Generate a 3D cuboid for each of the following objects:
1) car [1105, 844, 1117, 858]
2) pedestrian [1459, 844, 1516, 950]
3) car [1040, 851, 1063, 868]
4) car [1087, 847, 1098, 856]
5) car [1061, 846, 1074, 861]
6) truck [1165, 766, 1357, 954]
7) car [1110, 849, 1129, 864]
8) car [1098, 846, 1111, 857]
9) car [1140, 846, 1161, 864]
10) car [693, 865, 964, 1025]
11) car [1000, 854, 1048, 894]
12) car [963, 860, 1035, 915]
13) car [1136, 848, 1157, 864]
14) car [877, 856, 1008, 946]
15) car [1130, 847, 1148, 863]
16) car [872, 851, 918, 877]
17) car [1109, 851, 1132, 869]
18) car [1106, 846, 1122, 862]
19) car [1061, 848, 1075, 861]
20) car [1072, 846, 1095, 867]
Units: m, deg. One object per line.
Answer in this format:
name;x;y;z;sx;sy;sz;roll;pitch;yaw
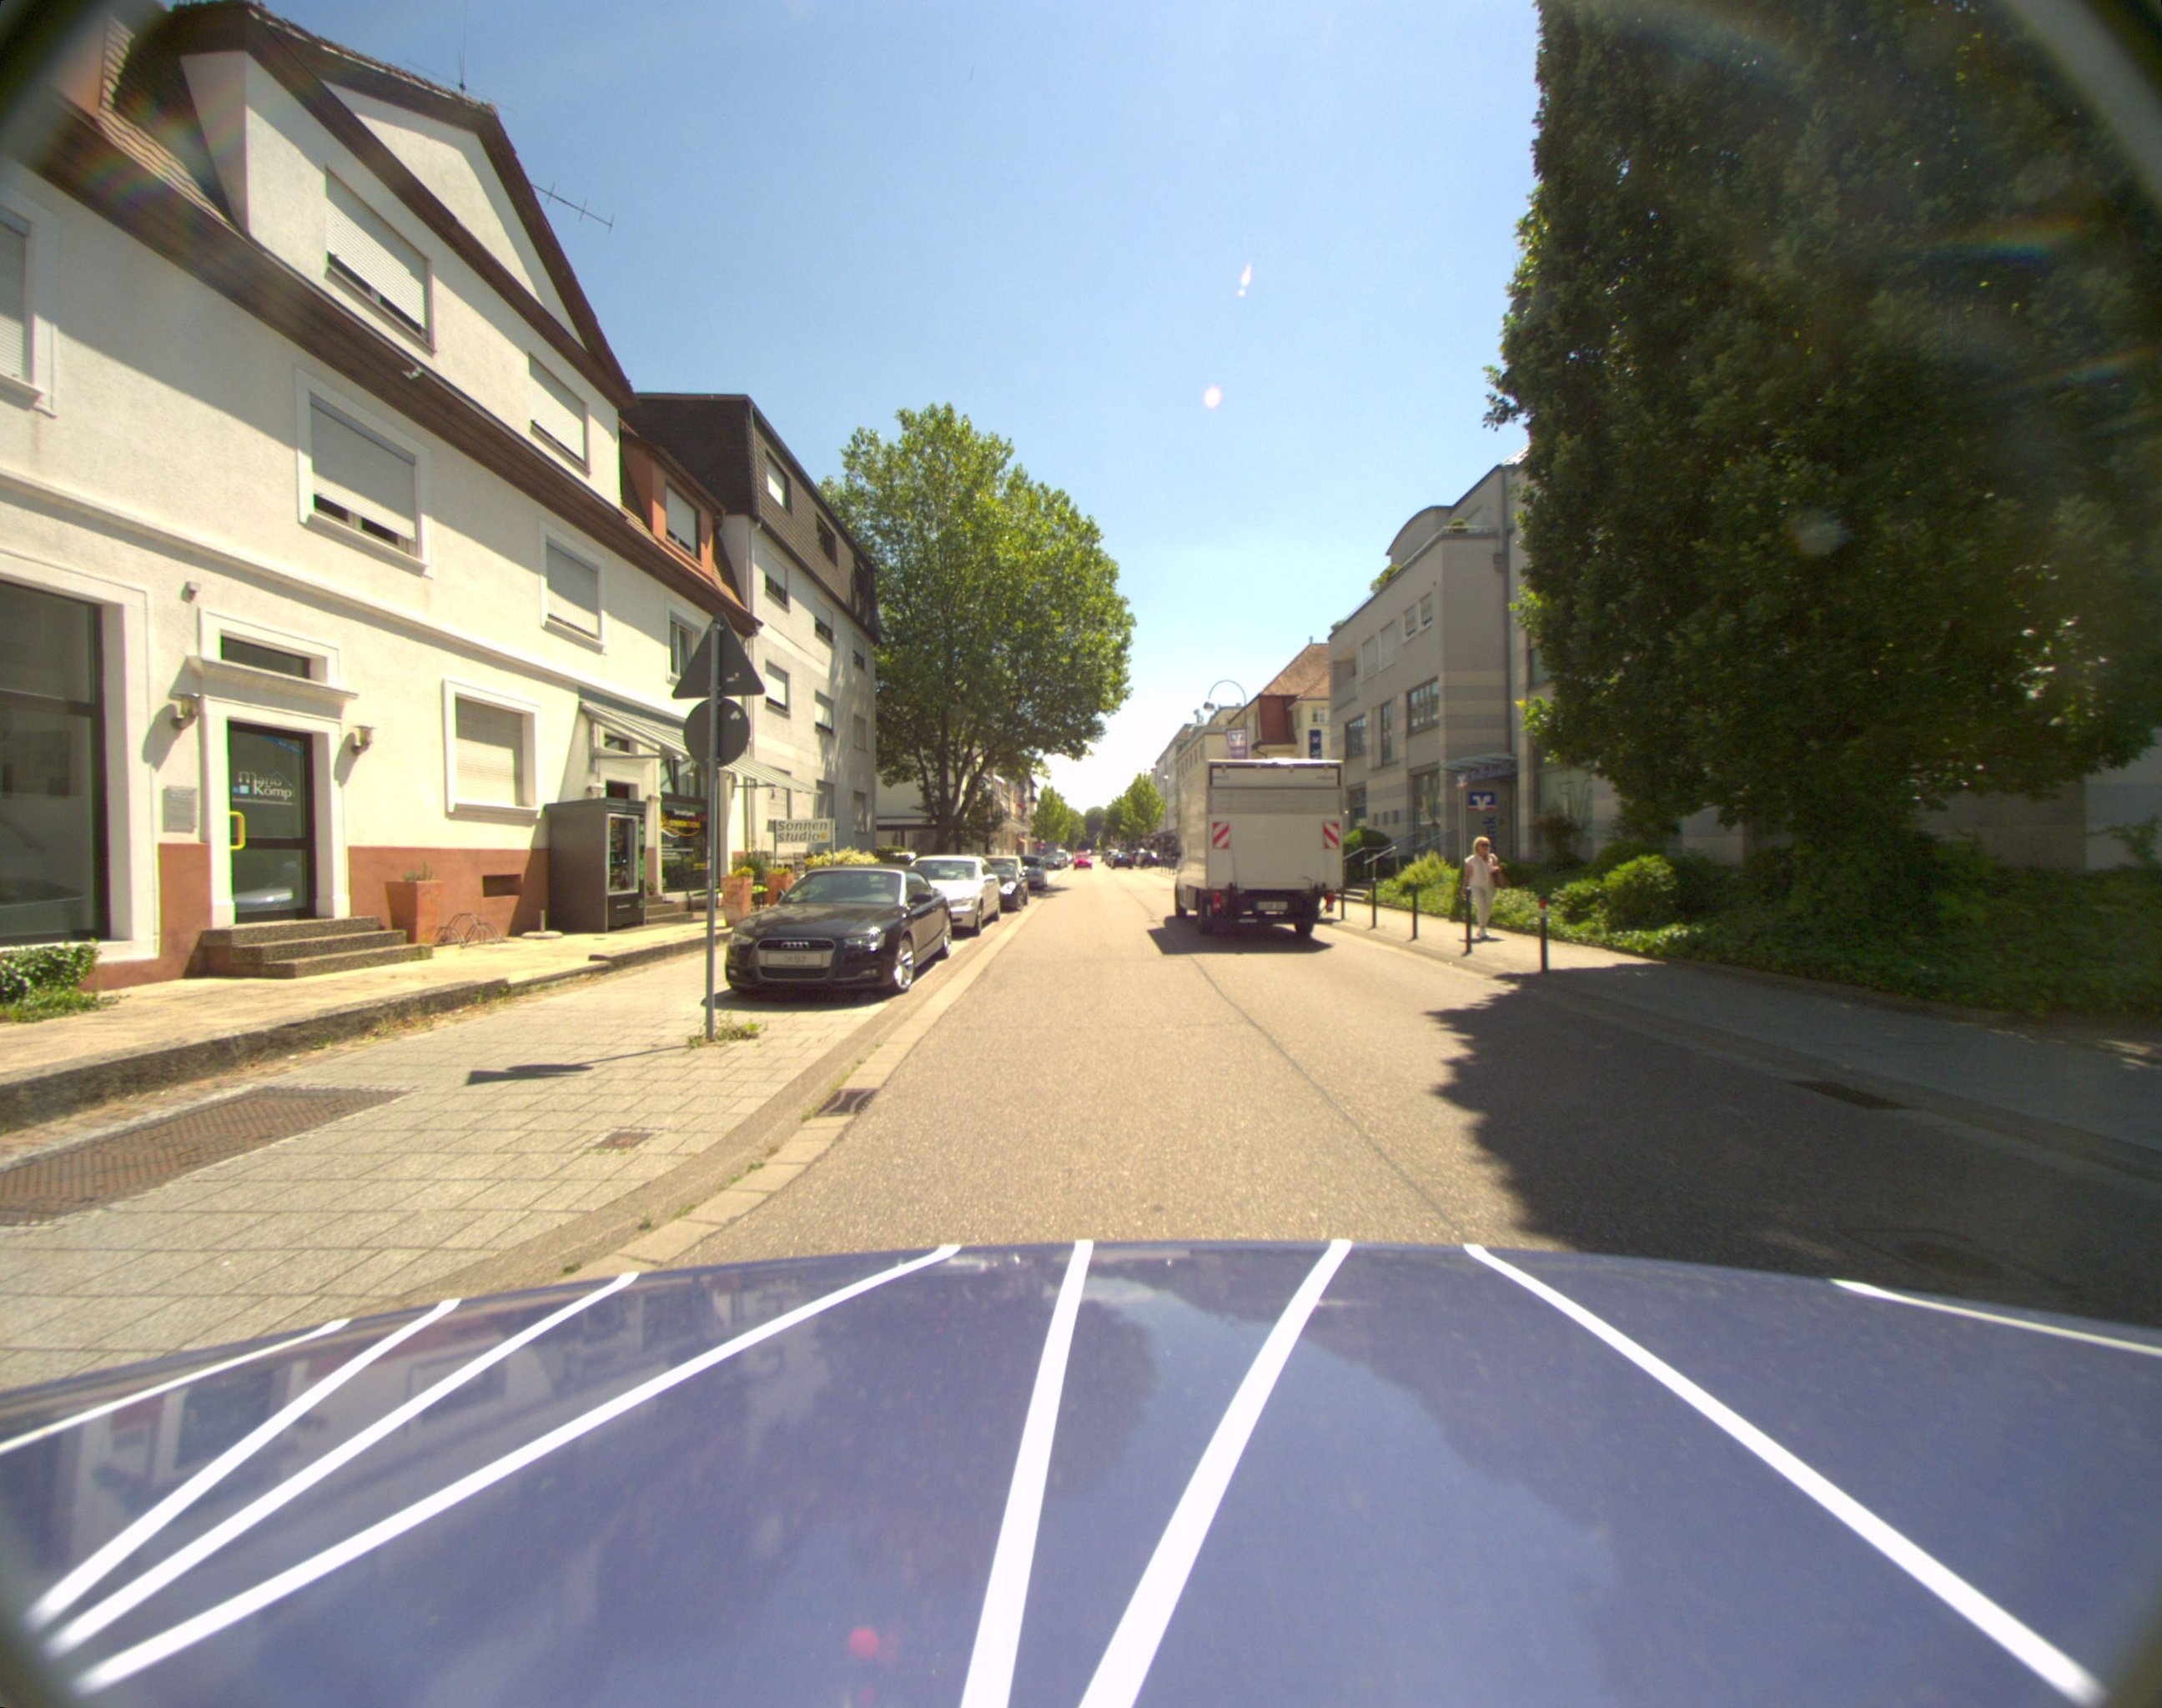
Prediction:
car;4.812;-0.471;121.804;1.731;2.154;4.293;0;1;0
pedestrian;6.629;0.680;12.412;0.538;1.675;0.708;-1;1;0
car;-2.624;0.471;68.463;1.818;1.379;4.114;1;1;0
car;2.009;-0.406;133.923;1.698;1.594;3.812;-1;0;0
car;-1.819;-0.080;103.207;1.731;1.861;4.114;-1;1;0
truck;3.196;0.085;15.154;2.426;2.966;6.257;0;0;1
car;4.005;0.267;80.140;1.834;1.502;4.031;0;0;0
car;3.379;-0.365;109.558;1.731;1.500;4.292;0;2;0
car;6.867;0.102;75.409;1.731;1.661;4.293;-2;1;0
car;-2.803;0.911;9.690;1.831;1.418;4.700;1;1;1
car;-2.403;0.811;33.264;1.834;1.502;4.758;-3;1;-2
car;-2.198;0.861;21.307;1.561;1.333;4.173;0;1;0
car;7.004;0.212;81.611;1.732;1.661;4.293;-2;1;-1
car;-2.651;0.828;15.673;1.748;1.460;4.851;1;1;1
car;6.631;0.114;86.832;1.731;1.661;4.293;-2;1;0
car;-11.129;0.565;45.304;1.740;1.491;3.454;-1;1;-30
car;3.492;0.514;67.477;1.834;1.502;4.262;-1;0;0
car;4.026;-0.020;93.500;1.706;1.815;4.231;1;1;0
car;-1.623;0.044;97.346;1.731;1.680;4.114;-1;1;0
car;0.215;0.196;71.146;2.000;1.880;4.293;-2;1;0
